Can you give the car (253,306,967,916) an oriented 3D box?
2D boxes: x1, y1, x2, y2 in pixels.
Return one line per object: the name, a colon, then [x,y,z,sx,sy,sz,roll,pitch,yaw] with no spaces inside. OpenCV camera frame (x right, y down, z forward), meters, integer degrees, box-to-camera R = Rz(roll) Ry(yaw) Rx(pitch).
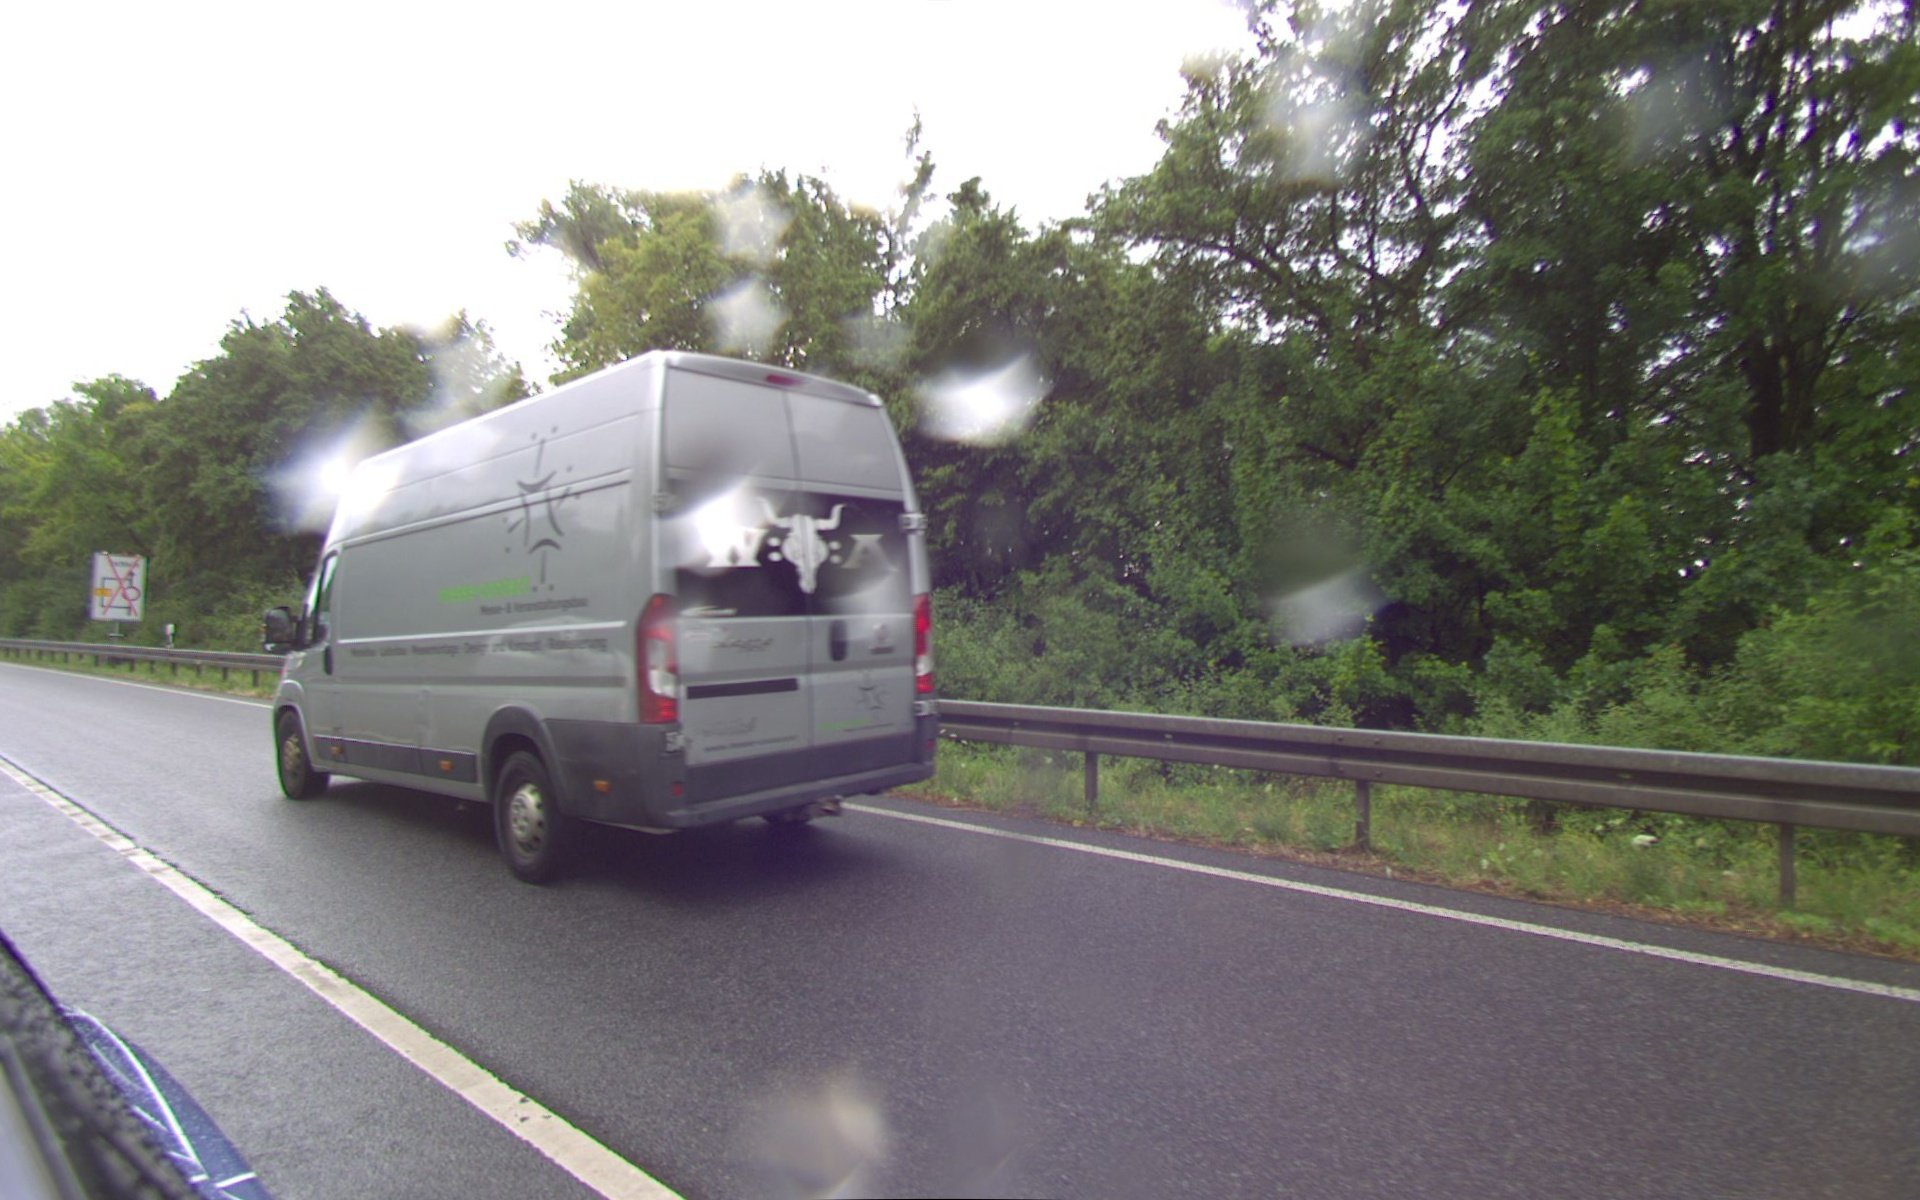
car: [-2.949,0.069,7.266,6.168,2.697,2.027,-1,-1,41]
